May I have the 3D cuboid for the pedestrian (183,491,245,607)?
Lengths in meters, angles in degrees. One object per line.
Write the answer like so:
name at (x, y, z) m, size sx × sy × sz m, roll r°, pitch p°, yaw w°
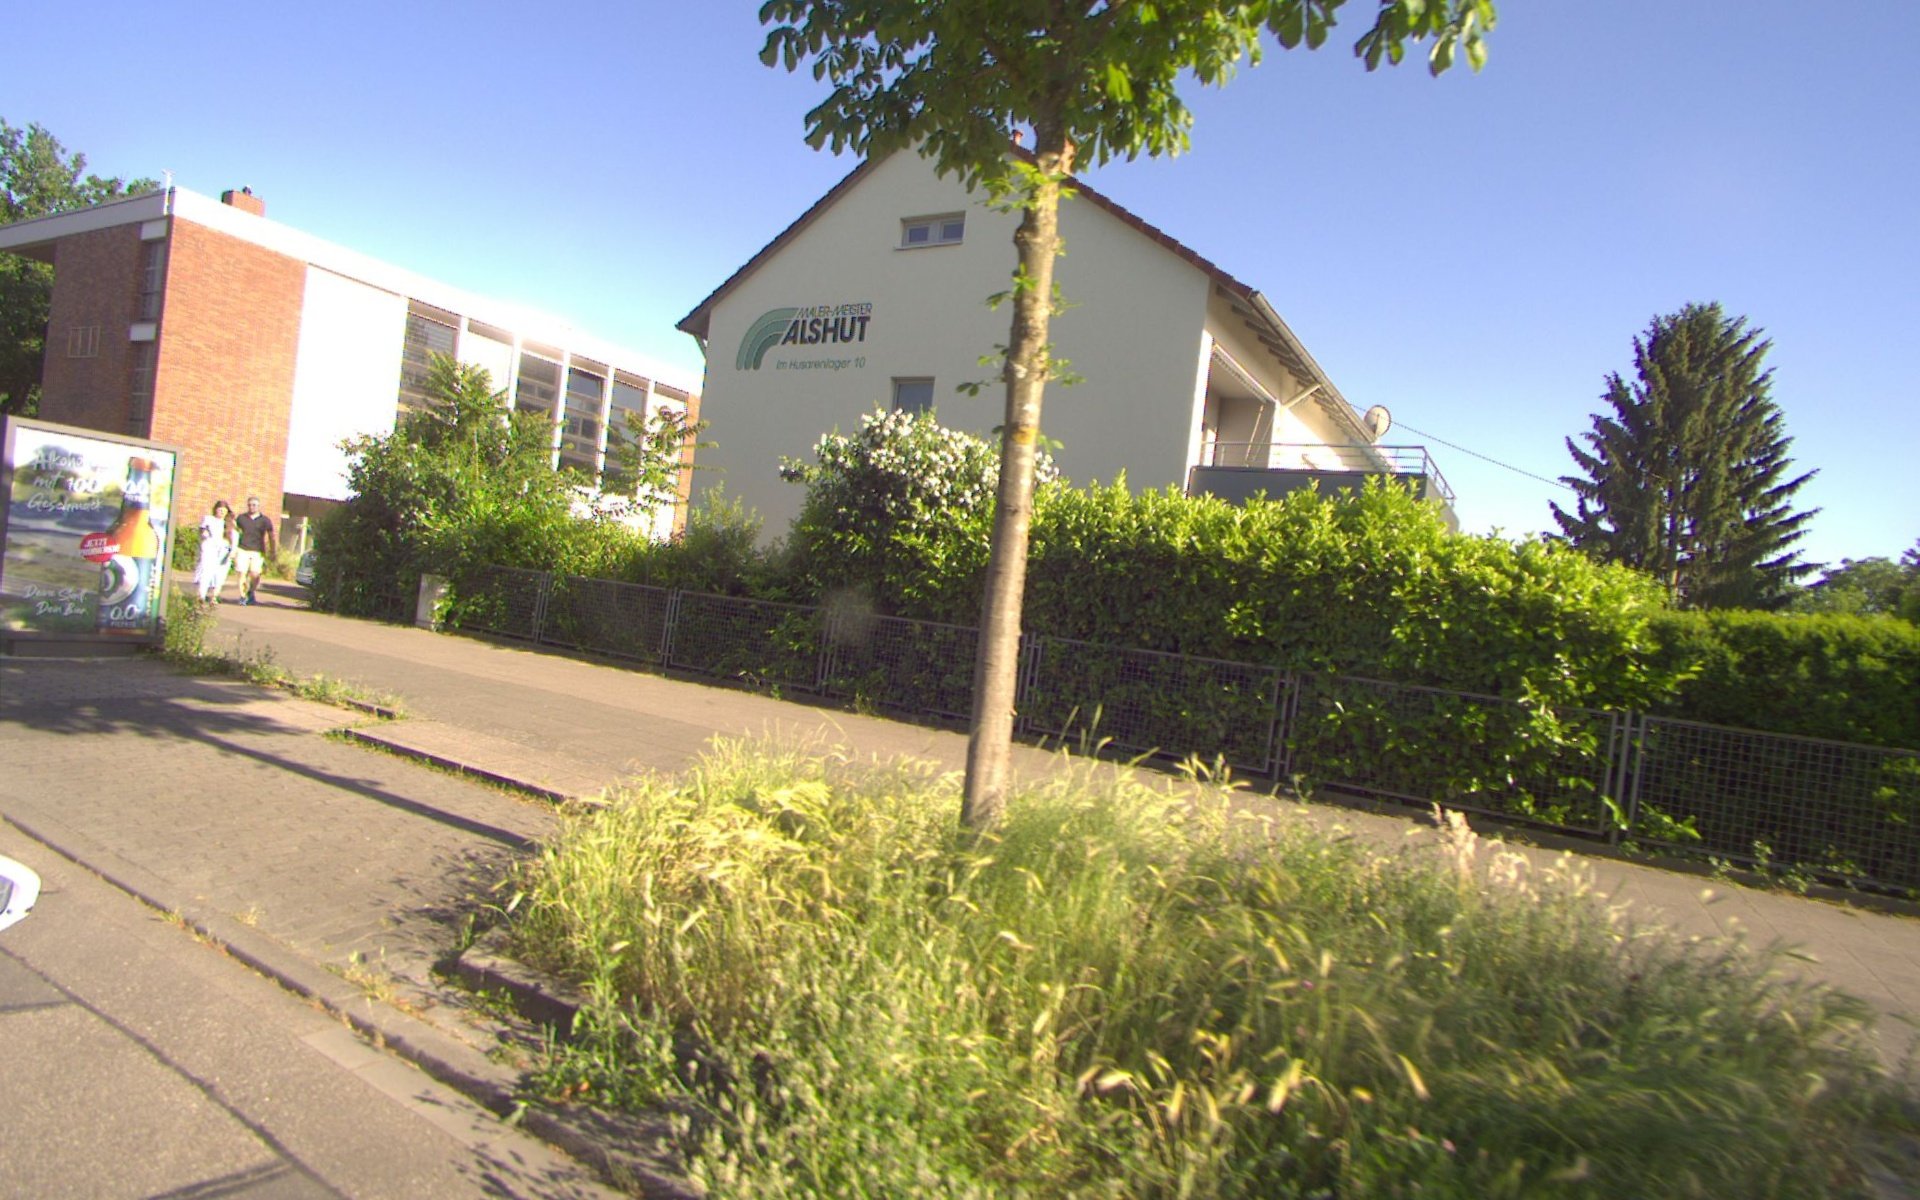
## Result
pedestrian at (-11.853, -0.805, 15.975) m, size 0.552 × 1.753 × 0.653 m, roll 7°, pitch -1°, yaw -44°

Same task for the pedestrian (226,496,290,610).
pedestrian at (-11.435, -0.769, 16.392) m, size 0.604 × 1.753 × 0.631 m, roll 7°, pitch -1°, yaw -44°

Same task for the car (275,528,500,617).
car at (-13.393, -0.587, 23.807) m, size 1.776 × 1.521 × 4.201 m, roll 8°, pitch 0°, yaw 30°

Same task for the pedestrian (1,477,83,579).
pedestrian at (-18.001, -1.398, 19.732) m, size 0.725 × 1.843 × 0.900 m, roll 6°, pitch -1°, yaw 35°
